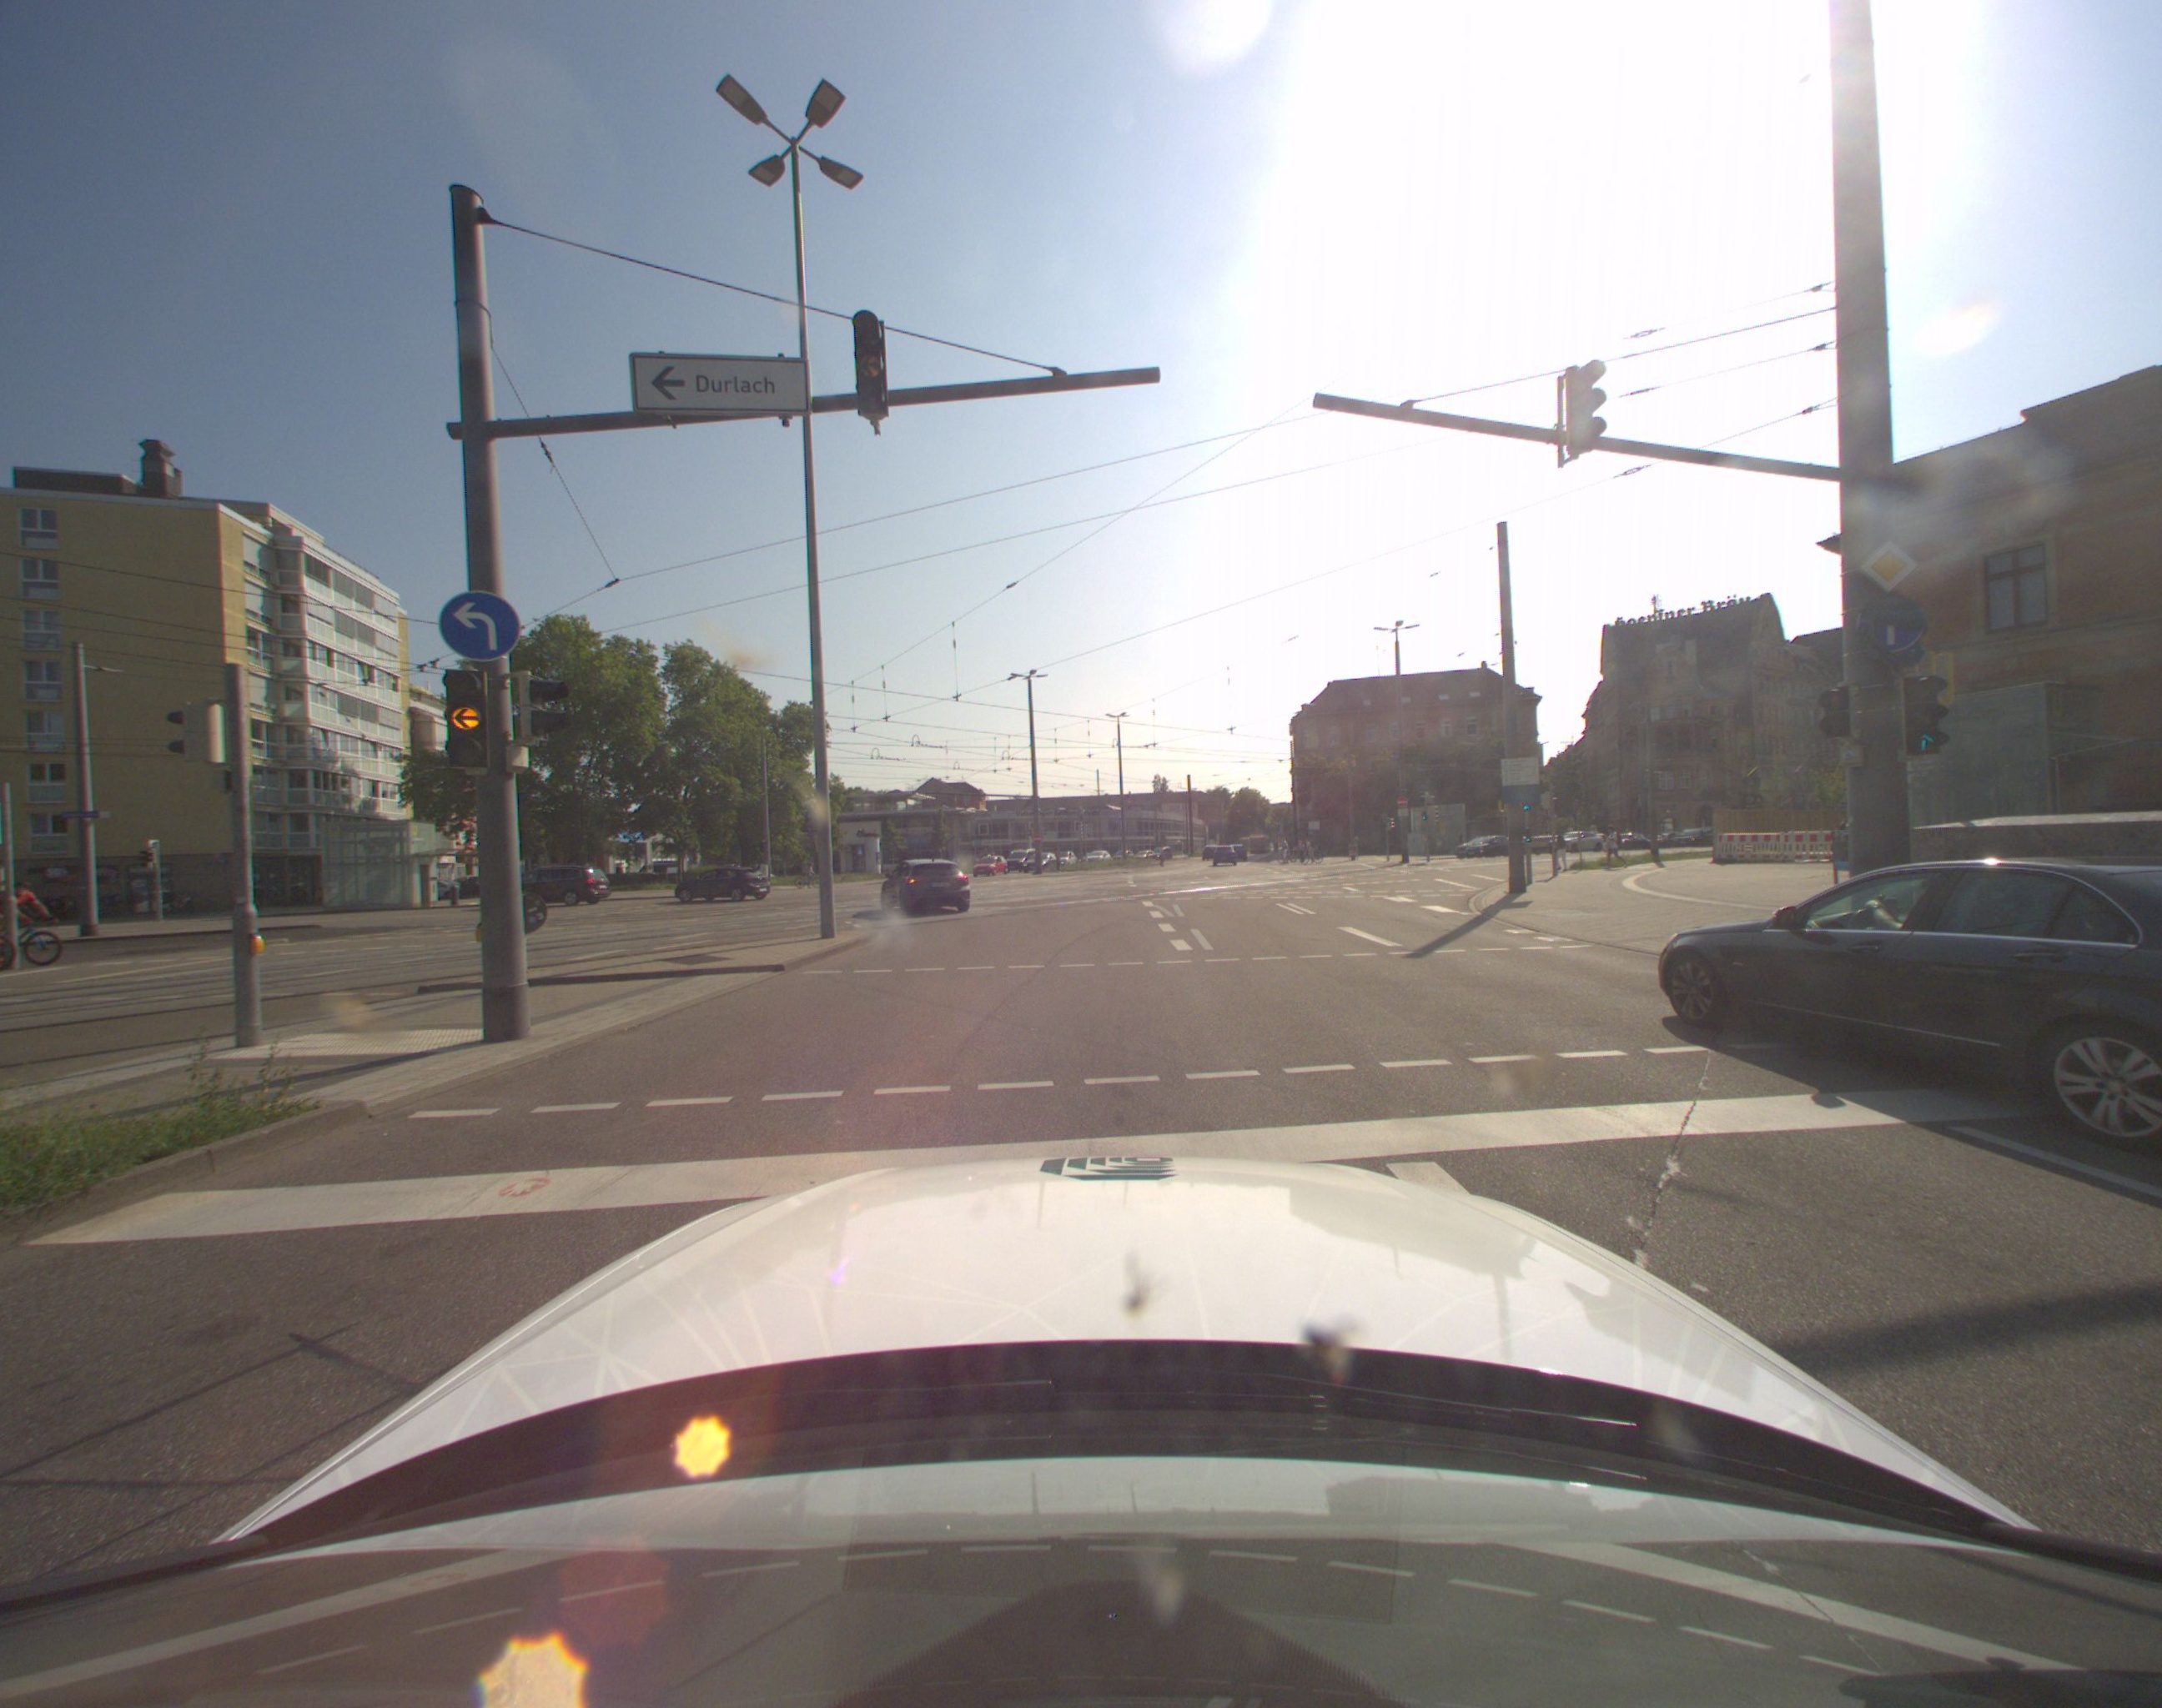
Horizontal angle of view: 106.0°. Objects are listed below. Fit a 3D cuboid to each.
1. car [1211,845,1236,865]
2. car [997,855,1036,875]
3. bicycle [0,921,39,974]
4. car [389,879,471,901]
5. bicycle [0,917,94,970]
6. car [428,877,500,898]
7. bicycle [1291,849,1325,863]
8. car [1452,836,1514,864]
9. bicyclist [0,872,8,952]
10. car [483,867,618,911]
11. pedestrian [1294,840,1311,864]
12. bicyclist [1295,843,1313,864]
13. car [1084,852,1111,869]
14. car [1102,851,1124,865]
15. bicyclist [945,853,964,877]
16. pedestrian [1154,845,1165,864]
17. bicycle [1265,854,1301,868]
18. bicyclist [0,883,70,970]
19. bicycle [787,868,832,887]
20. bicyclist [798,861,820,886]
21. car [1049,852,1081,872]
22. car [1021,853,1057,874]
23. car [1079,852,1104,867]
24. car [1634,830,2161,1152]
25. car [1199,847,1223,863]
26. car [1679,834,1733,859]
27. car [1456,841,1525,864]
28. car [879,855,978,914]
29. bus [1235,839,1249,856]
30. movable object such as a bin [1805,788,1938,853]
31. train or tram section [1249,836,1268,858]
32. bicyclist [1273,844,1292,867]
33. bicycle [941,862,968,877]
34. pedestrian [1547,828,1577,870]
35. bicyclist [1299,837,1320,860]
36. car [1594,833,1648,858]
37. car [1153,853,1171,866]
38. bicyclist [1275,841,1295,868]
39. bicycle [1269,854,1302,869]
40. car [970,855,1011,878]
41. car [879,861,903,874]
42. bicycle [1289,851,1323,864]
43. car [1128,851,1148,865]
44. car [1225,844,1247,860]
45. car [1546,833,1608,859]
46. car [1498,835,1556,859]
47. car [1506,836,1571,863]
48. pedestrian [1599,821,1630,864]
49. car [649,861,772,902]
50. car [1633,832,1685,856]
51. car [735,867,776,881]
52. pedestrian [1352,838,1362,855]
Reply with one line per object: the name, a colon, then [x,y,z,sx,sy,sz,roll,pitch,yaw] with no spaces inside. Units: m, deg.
car: [11.122,0.052,63.671,1.814,1.428,4.424,-3,0,10]
car: [-5.345,0.887,68.420,1.946,1.475,4.016,-4,-1,14]
bicycle: [-20.965,1.790,15.179,1.814,0.932,0.723,-2,0,-13]
car: [-45.548,2.502,57.090,4.170,1.354,1.567,-2,0,-20]
bicycle: [-21.214,1.806,16.258,1.814,0.932,0.723,-2,0,-13]
car: [-48.386,2.608,63.906,4.170,1.354,1.567,-2,0,-20]
bicycle: [16.959,0.133,60.761,2.639,0.964,1.081,-2,0,-38]
car: [29.055,-0.291,58.813,4.262,1.859,1.892,-2,0,-29]
bicyclist: [-20.936,1.119,15.188,0.795,1.527,0.723,-2,0,-12]
car: [-23.238,1.489,35.888,4.544,1.678,1.989,-2,0,-16]
pedestrian: [17.394,-0.161,63.972,0.933,1.797,0.849,-2,0,-42]
bicyclist: [18.228,-0.042,66.525,0.938,1.680,1.084,-2,0,-24]
car: [1.674,0.587,79.864,1.602,1.475,4.017,-4,-1,15]
car: [3.719,0.462,94.084,1.602,1.475,4.017,-4,-1,15]
bicyclist: [-9.522,0.830,61.208,0.950,1.748,1.171,-2,0,15]
pedestrian: [6.280,0.036,65.057,0.775,1.503,0.710,-2,0,-1]
bicycle: [16.131,0.560,64.995,2.631,0.964,1.084,-2,0,-25]
bicyclist: [-21.163,1.438,16.277,0.882,1.652,0.723,-2,0,-12]
bicycle: [-17.256,1.492,51.806,2.604,1.057,0.956,-2,0,-15]
bicyclist: [-17.294,1.251,51.814,1.164,1.527,0.956,-2,0,-15]
car: [-1.320,0.658,69.869,1.602,1.475,4.016,-4,-1,14]
car: [-3.242,0.692,63.492,1.602,1.475,4.016,-4,-1,14]
car: [1.179,0.573,87.190,1.602,1.475,4.017,-4,-1,15]
car: [5.841,0.610,5.172,1.677,1.442,4.372,-3,1,0]
car: [14.007,0.127,87.429,1.811,1.535,4.433,-3,0,18]
car: [50.070,-0.589,65.248,4.079,1.859,1.893,-2,0,-29]
car: [27.513,-0.111,54.690,4.400,1.397,2.005,-2,0,-29]
car: [-4.412,0.798,22.988,1.840,1.435,4.516,-2,0,-22]
bus: [35.293,-1.411,178.949,2.902,3.619,16.795,-2,0,11]
movable object such as a bin: [33.932,-1.447,34.856,8.011,2.442,2.427,-2,0,-34]
train or tram section: [30.967,-1.262,142.198,2.635,3.699,10.631,-3,0,15]
bicyclist: [16.101,0.140,64.987,0.938,1.799,1.084,-2,0,-24]
bicycle: [-9.494,1.162,61.271,0.950,1.057,2.619,-2,0,15]
pedestrian: [19.802,-0.211,33.516,0.910,1.690,0.843,-2,0,36]
bicyclist: [17.066,-0.416,60.862,0.941,1.708,1.080,-2,0,-38]
car: [43.996,-0.699,66.355,4.262,1.859,1.892,-2,0,-29]
car: [10.683,0.682,107.164,1.602,1.475,4.017,-4,-1,15]
bicyclist: [15.701,0.033,62.689,0.941,2.024,1.080,-2,0,-38]
bicycle: [15.759,0.575,62.712,2.639,0.964,1.081,-2,0,-38]
car: [-6.780,0.922,61.259,1.602,1.475,4.016,-4,-1,14]
car: [-23.279,1.636,99.984,1.692,1.522,4.103,-2,0,4]
bicycle: [18.416,0.318,66.613,2.631,0.964,1.084,-2,0,-25]
car: [7.119,0.482,101.200,1.602,1.475,4.017,-4,-1,15]
car: [15.177,-0.213,79.678,1.812,1.428,4.429,-3,0,14]
car: [38.535,-0.598,63.251,4.677,1.859,2.026,-2,0,-29]
car: [37.487,-0.587,68.442,4.274,1.859,1.918,-2,0,-20]
car: [34.154,-0.317,60.832,4.719,1.859,1.893,-2,0,-27]
pedestrian: [21.348,-0.466,32.586,0.910,1.690,0.931,-2,0,39]
car: [-15.544,1.140,34.326,4.343,1.491,1.688,-2,0,0]
car: [48.985,-0.826,68.970,4.262,1.859,1.892,-2,0,-29]
car: [-40.286,2.516,100.898,1.683,1.522,4.543,-2,0,31]
pedestrian: [24.073,-0.685,71.015,0.540,1.471,0.672,-3,0,45]
